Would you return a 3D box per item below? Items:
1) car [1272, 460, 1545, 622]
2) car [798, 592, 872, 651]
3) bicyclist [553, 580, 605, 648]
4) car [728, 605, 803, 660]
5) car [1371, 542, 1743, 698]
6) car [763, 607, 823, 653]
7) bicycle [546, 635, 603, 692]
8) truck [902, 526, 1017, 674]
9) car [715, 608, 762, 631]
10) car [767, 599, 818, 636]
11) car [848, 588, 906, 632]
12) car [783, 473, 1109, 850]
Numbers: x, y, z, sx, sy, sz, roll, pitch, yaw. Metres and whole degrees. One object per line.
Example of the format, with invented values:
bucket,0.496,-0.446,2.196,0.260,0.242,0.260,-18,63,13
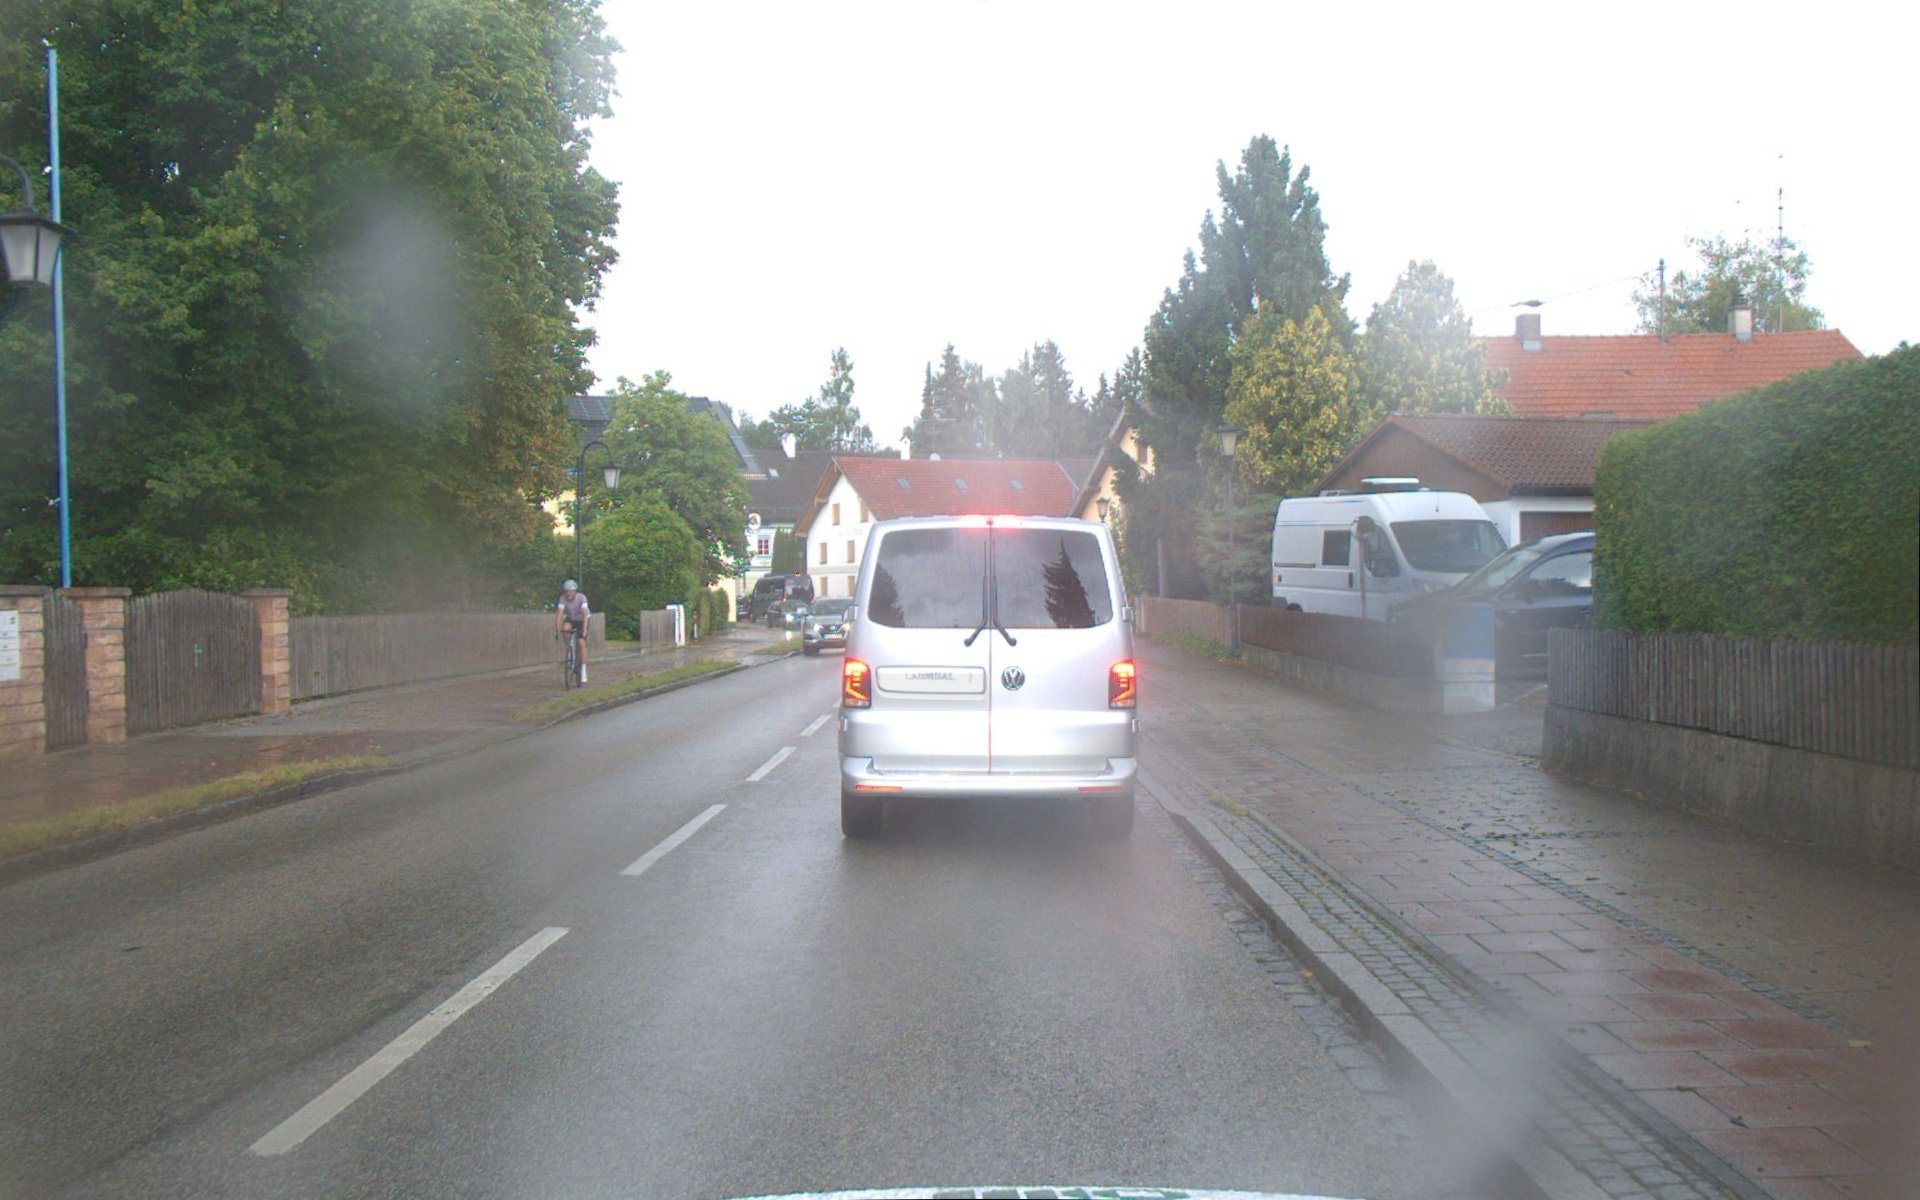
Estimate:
car,6.756,-0.804,25.583,1.959,2.211,4.936,1,-1,-13
car,-3.525,0.619,47.173,1.790,1.586,4.177,-1,-1,0
bicyclist,-5.968,0.216,25.958,0.575,1.039,1.060,0,0,-1
car,-5.495,0.910,46.980,1.584,1.470,3.671,1,-1,2
car,7.331,0.206,20.534,4.012,1.782,1.693,-1,2,-4
car,-5.560,1.001,55.425,1.584,1.470,3.670,1,-1,1
bicycle,-6.001,0.971,25.812,0.447,0.812,1.977,0,0,0
truck,-0.034,0.041,38.769,2.425,3.128,6.295,1,-1,0
car,-14.007,1.217,104.339,1.759,1.333,3.742,2,-1,-27
car,-8.367,0.867,82.225,1.960,1.733,3.985,1,-1,-14
car,-4.087,0.474,81.039,1.961,2.049,3.983,1,-1,-16
car,0.005,0.360,11.156,1.763,2.049,4.001,1,-1,2
